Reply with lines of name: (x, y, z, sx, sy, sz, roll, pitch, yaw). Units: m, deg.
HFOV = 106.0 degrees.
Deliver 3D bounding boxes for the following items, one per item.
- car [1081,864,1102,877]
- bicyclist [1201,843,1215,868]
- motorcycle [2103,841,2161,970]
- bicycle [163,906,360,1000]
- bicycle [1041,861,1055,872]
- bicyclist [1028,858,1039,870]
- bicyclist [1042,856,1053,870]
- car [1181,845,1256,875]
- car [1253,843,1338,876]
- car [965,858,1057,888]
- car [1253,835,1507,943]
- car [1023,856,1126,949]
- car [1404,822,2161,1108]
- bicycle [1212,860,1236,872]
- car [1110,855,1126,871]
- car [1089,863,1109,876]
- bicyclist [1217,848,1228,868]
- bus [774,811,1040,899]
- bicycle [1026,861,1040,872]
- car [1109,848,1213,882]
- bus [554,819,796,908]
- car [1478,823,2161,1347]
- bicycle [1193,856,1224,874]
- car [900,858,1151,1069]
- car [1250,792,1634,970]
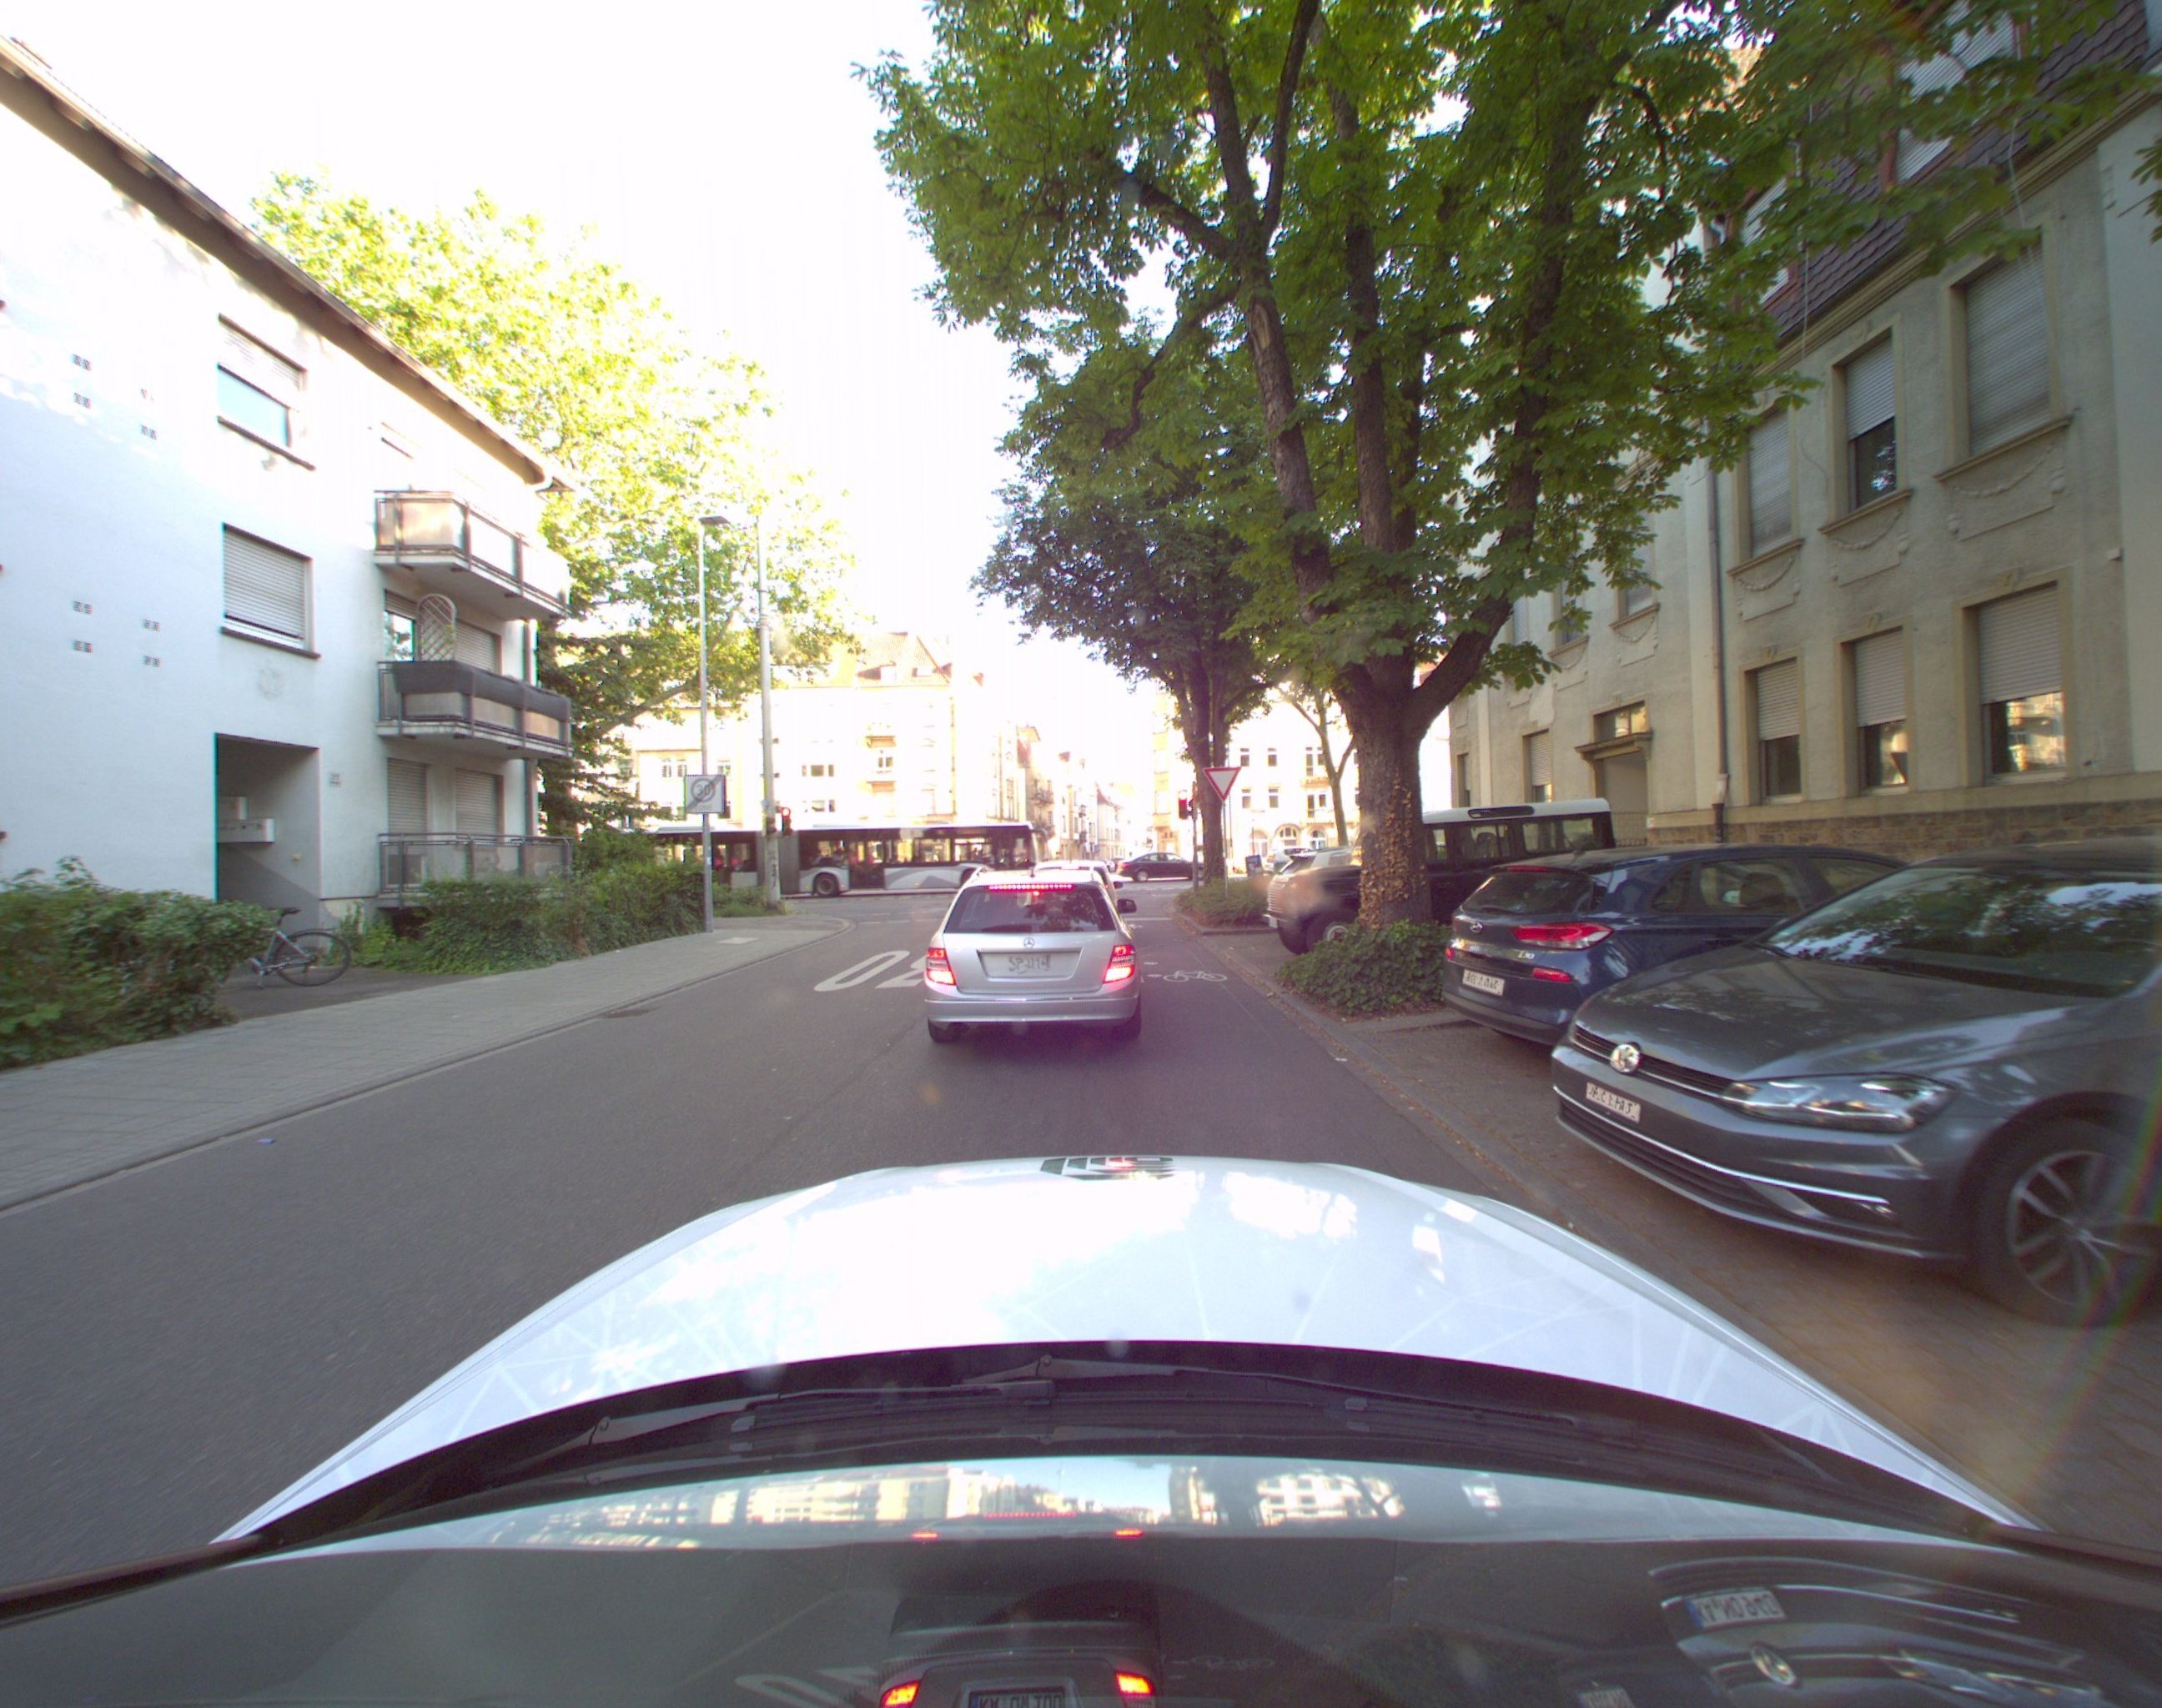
car: (1.251, 2.011, 98.157, 1.824, 1.402, 4.012, -1, 0, 10)
bicyclist: (9.610, 0.078, 61.674, 0.889, 1.859, 0.636, -2, 0, -3)
motorcycle: (9.520, 0.439, 5.865, 0.691, 1.073, 2.870, -4, 0, 1)
bicycle: (-9.966, 1.172, 9.989, 1.630, 1.008, 0.511, 2, -1, -39)
bicycle: (-3.054, 1.116, 74.688, 0.765, 0.934, 1.947, -1, 0, 13)
bicyclist: (-4.360, 0.915, 74.708, 0.765, 1.156, 0.755, -1, 0, 13)
bicyclist: (-3.060, 0.822, 74.689, 0.765, 1.290, 0.755, -1, 0, 13)
car: (7.312, 0.327, 43.432, 3.683, 1.449, 1.512, -2, 0, -7)
car: (10.413, 0.261, 39.679, 3.683, 1.449, 1.512, -2, 0, -7)
car: (-3.273, 0.871, 38.190, 4.192, 1.236, 1.715, -2, 0, -7)
car: (5.041, 0.576, 14.081, 3.714, 1.570, 1.707, -3, -1, -2)
car: (-0.098, 0.784, 15.158, 1.614, 1.446, 4.344, -1, 0, 0)
car: (4.417, 0.630, 5.547, 3.714, 1.452, 1.707, -3, -1, -2)
bicycle: (10.434, 0.879, 59.608, 1.613, 0.876, 0.636, -2, 0, -4)
car: (5.383, 1.353, 118.395, 1.776, 2.204, 4.012, -1, 0, 10)
car: (2.316, 1.944, 103.627, 1.824, 1.402, 4.012, -1, 0, 10)
bicyclist: (10.378, 0.302, 59.605, 0.642, 1.426, 0.636, -2, 0, -3)
bus: (-7.051, 0.008, 34.316, 10.440, 3.201, 2.905, -2, 0, -7)
bicycle: (-4.376, 1.137, 74.630, 0.765, 0.940, 1.947, -1, 0, 13)
car: (3.796, 0.500, 39.150, 4.684, 1.428, 1.715, -2, 0, -7)
bus: (-16.275, 0.343, 33.221, 8.166, 3.201, 2.905, -2, 0, -7)
car: (4.087, 0.635, 3.348, 4.042, 1.452, 1.722, -3, -1, -2)
bicycle: (9.657, 0.831, 61.676, 2.251, 1.246, 0.636, -2, 0, -3)
car: (-0.385, 0.791, 8.080, 1.771, 1.452, 4.547, -1, 0, 0)
car: (4.753, 0.336, 11.146, 4.453, 2.036, 1.700, -3, -1, -2)
